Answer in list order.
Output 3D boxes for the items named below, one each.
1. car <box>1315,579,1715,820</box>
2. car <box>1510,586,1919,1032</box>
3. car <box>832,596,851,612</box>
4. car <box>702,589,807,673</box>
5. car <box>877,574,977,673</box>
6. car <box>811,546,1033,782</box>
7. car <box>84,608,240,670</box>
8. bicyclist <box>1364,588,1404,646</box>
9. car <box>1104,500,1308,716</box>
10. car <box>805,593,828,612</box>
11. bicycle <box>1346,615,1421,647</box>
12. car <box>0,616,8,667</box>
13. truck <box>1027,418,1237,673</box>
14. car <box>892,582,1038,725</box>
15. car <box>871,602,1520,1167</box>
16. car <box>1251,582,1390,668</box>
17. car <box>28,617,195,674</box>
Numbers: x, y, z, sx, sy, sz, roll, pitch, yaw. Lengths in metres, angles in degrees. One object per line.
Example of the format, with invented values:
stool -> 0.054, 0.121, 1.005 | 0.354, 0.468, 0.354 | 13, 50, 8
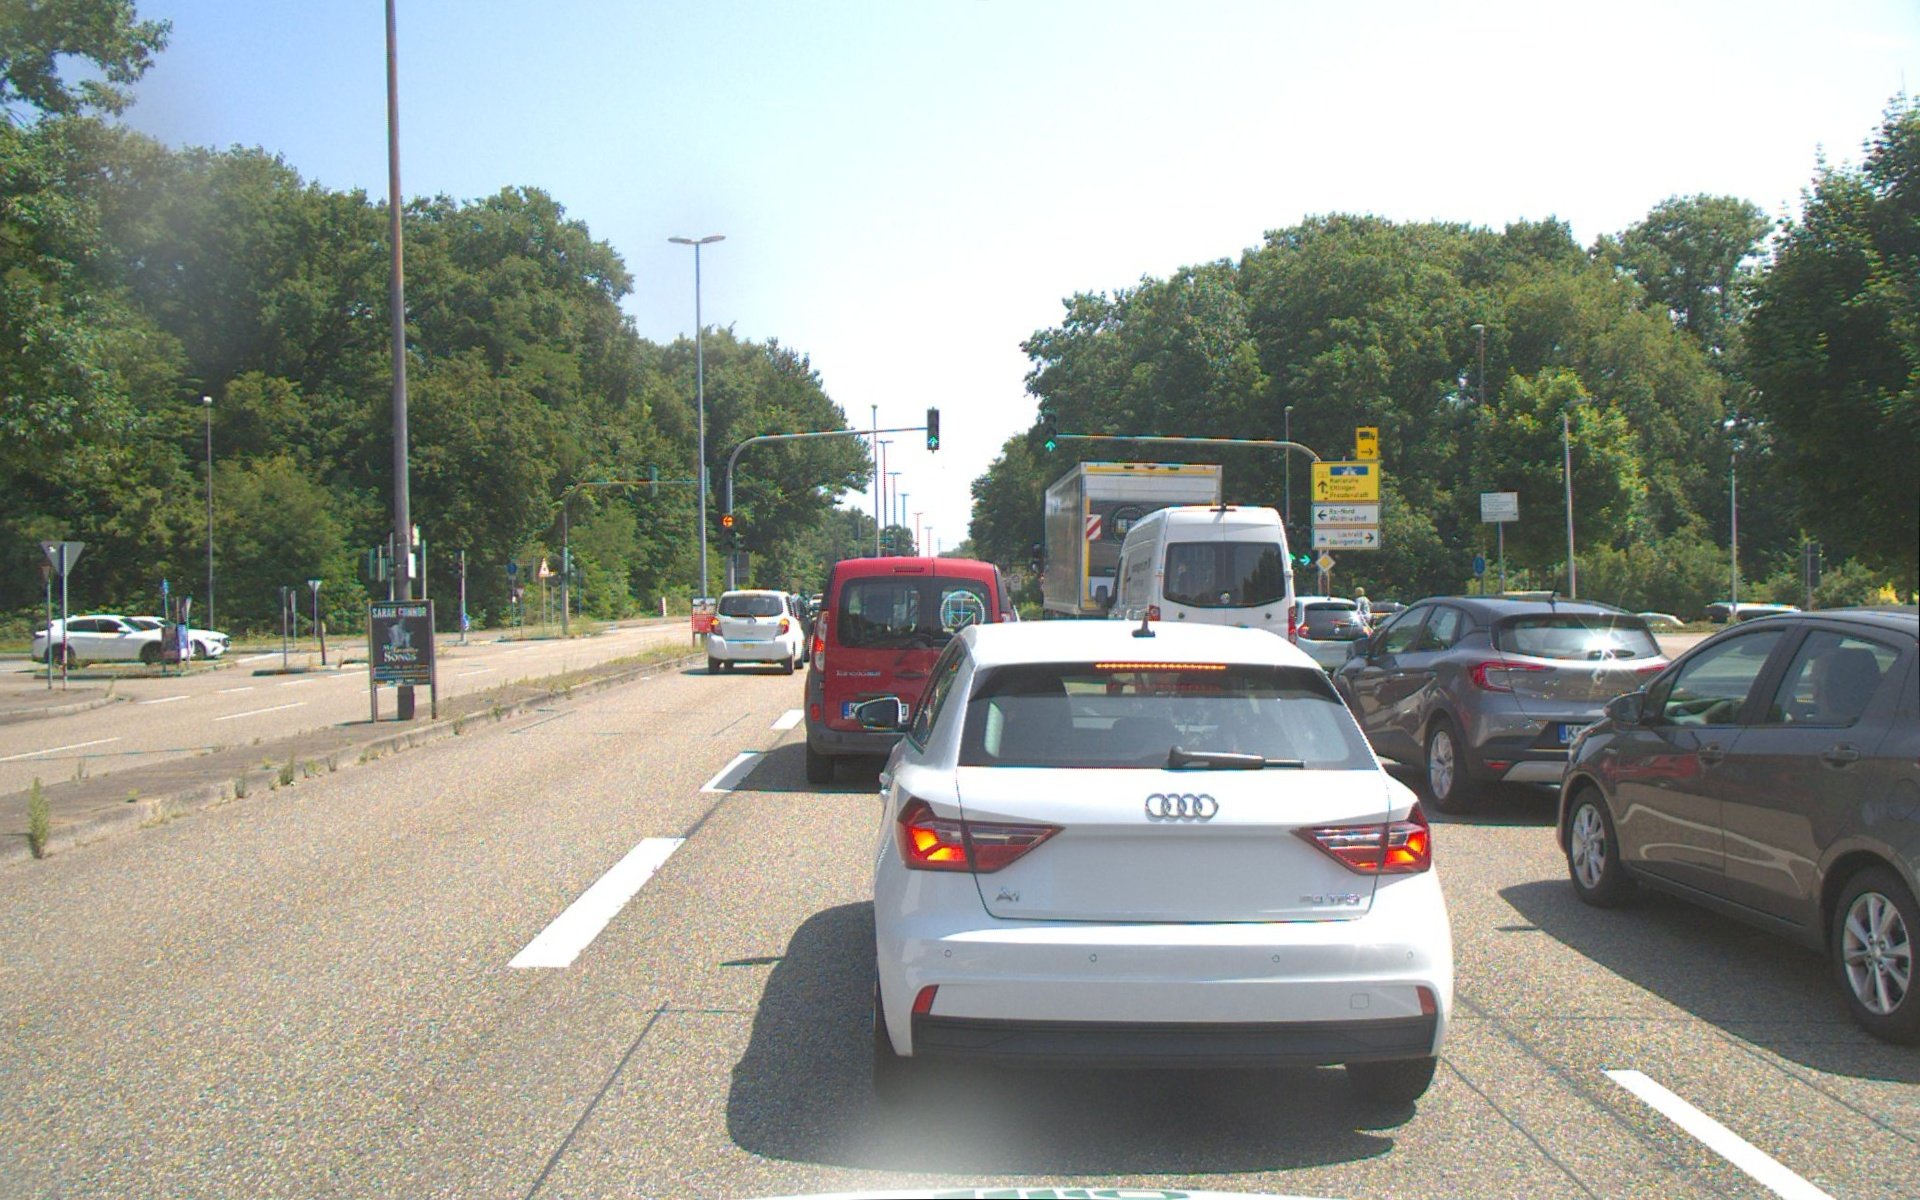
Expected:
car -> 4.195, 0.665, 13.228 | 1.677, 1.621, 4.090 | 0, 0, -3
car -> 4.034, 0.740, 7.248 | 1.678, 1.504, 4.090 | 3, 0, -3
car -> -13.010, 0.442, 181.685 | 1.793, 1.758, 3.999 | -1, 0, -2
car -> -3.911, 0.546, 32.003 | 1.677, 1.519, 4.090 | 0, 0, -3
car -> -0.643, 0.392, 29.987 | 1.677, 1.660, 4.090 | 0, 0, -3
car -> -0.377, 0.479, 14.584 | 1.677, 1.779, 4.090 | 0, 0, -3
car -> -27.008, 1.306, 56.083 | 4.291, 1.710, 1.807 | -4, 0, -9
bicyclist -> 10.932, 0.435, 42.631 | 0.812, 1.464, 0.597 | -1, 0, -12
car -> 3.292, 0.091, 23.118 | 1.990, 2.690, 4.843 | 0, 0, -2
car -> -13.820, 0.257, 159.292 | 1.953, 1.803, 4.203 | -1, 0, -2
bicycle -> 10.898, 0.788, 42.621 | 1.789, 0.779, 0.599 | -1, 0, -12
car -> -34.472, 1.369, 55.151 | 4.294, 1.711, 1.805 | 1, -1, -13
truck -> 3.301, -0.992, 35.263 | 3.026, 4.511, 11.577 | 1, 0, -1
car -> -0.027, 0.613, 21.207 | 1.677, 1.660, 4.090 | 0, 0, -3
car -> 0.524, 0.728, 6.287 | 1.677, 1.410, 4.090 | 0, 0, -3
car -> 7.000, 0.449, 32.465 | 1.677, 1.573, 4.090 | 0, 0, -3
car -> -26.747, 1.420, 52.268 | 4.290, 1.711, 1.807 | 1, -1, -9
